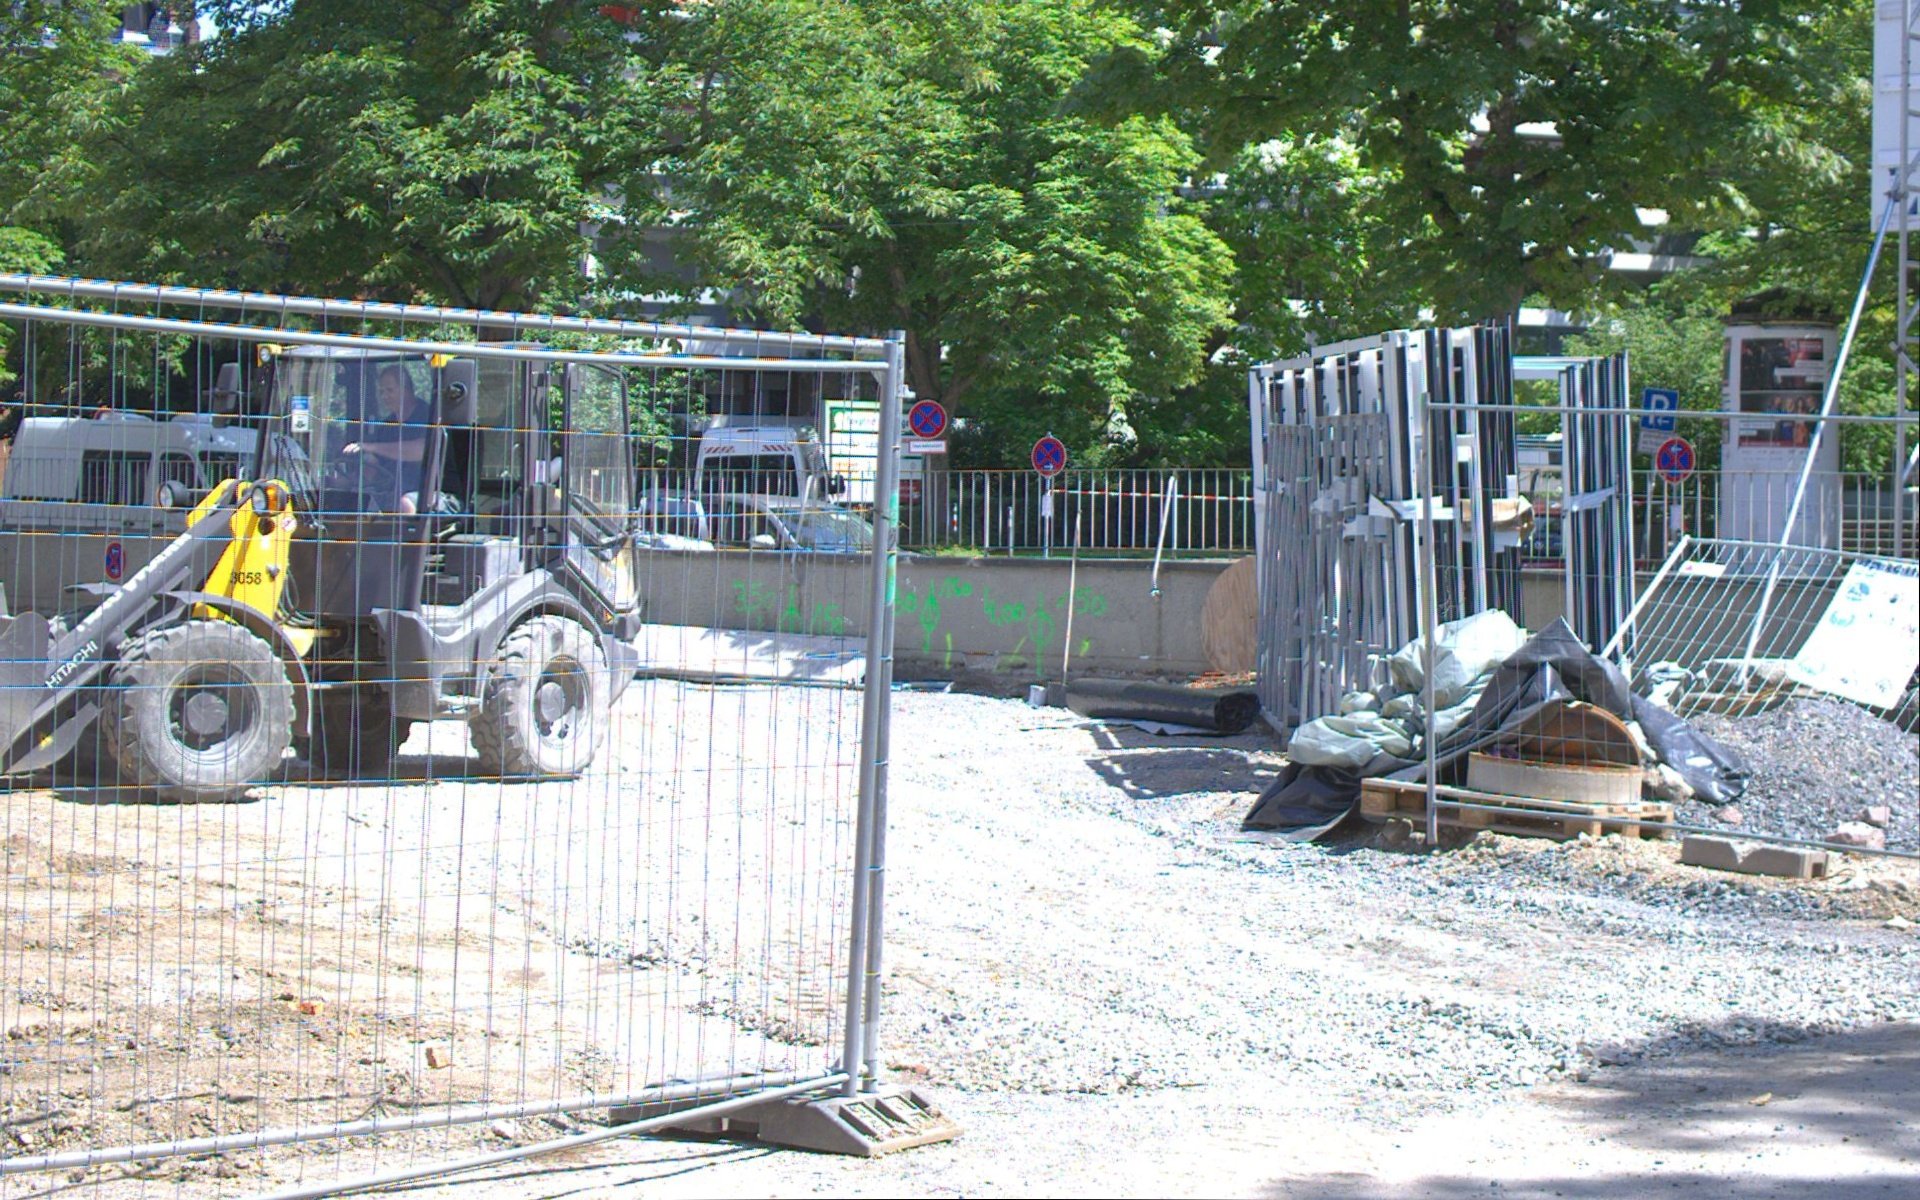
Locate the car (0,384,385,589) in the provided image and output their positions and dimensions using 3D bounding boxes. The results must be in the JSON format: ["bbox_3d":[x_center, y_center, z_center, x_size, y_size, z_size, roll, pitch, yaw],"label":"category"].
[{"bbox_3d":[-9.659,-1.403,42.815,5.238,2.408,1.995,2,2,40],"label":"car"}]

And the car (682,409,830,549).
[{"bbox_3d":[-3.390,-2.027,58.036,2.184,2.250,4.869,0,1,0],"label":"car"}]

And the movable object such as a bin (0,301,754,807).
[{"bbox_3d":[-4.062,-0.273,18.536,5.403,2.455,2.368,0,2,-36],"label":"movable object such as a bin"}]
